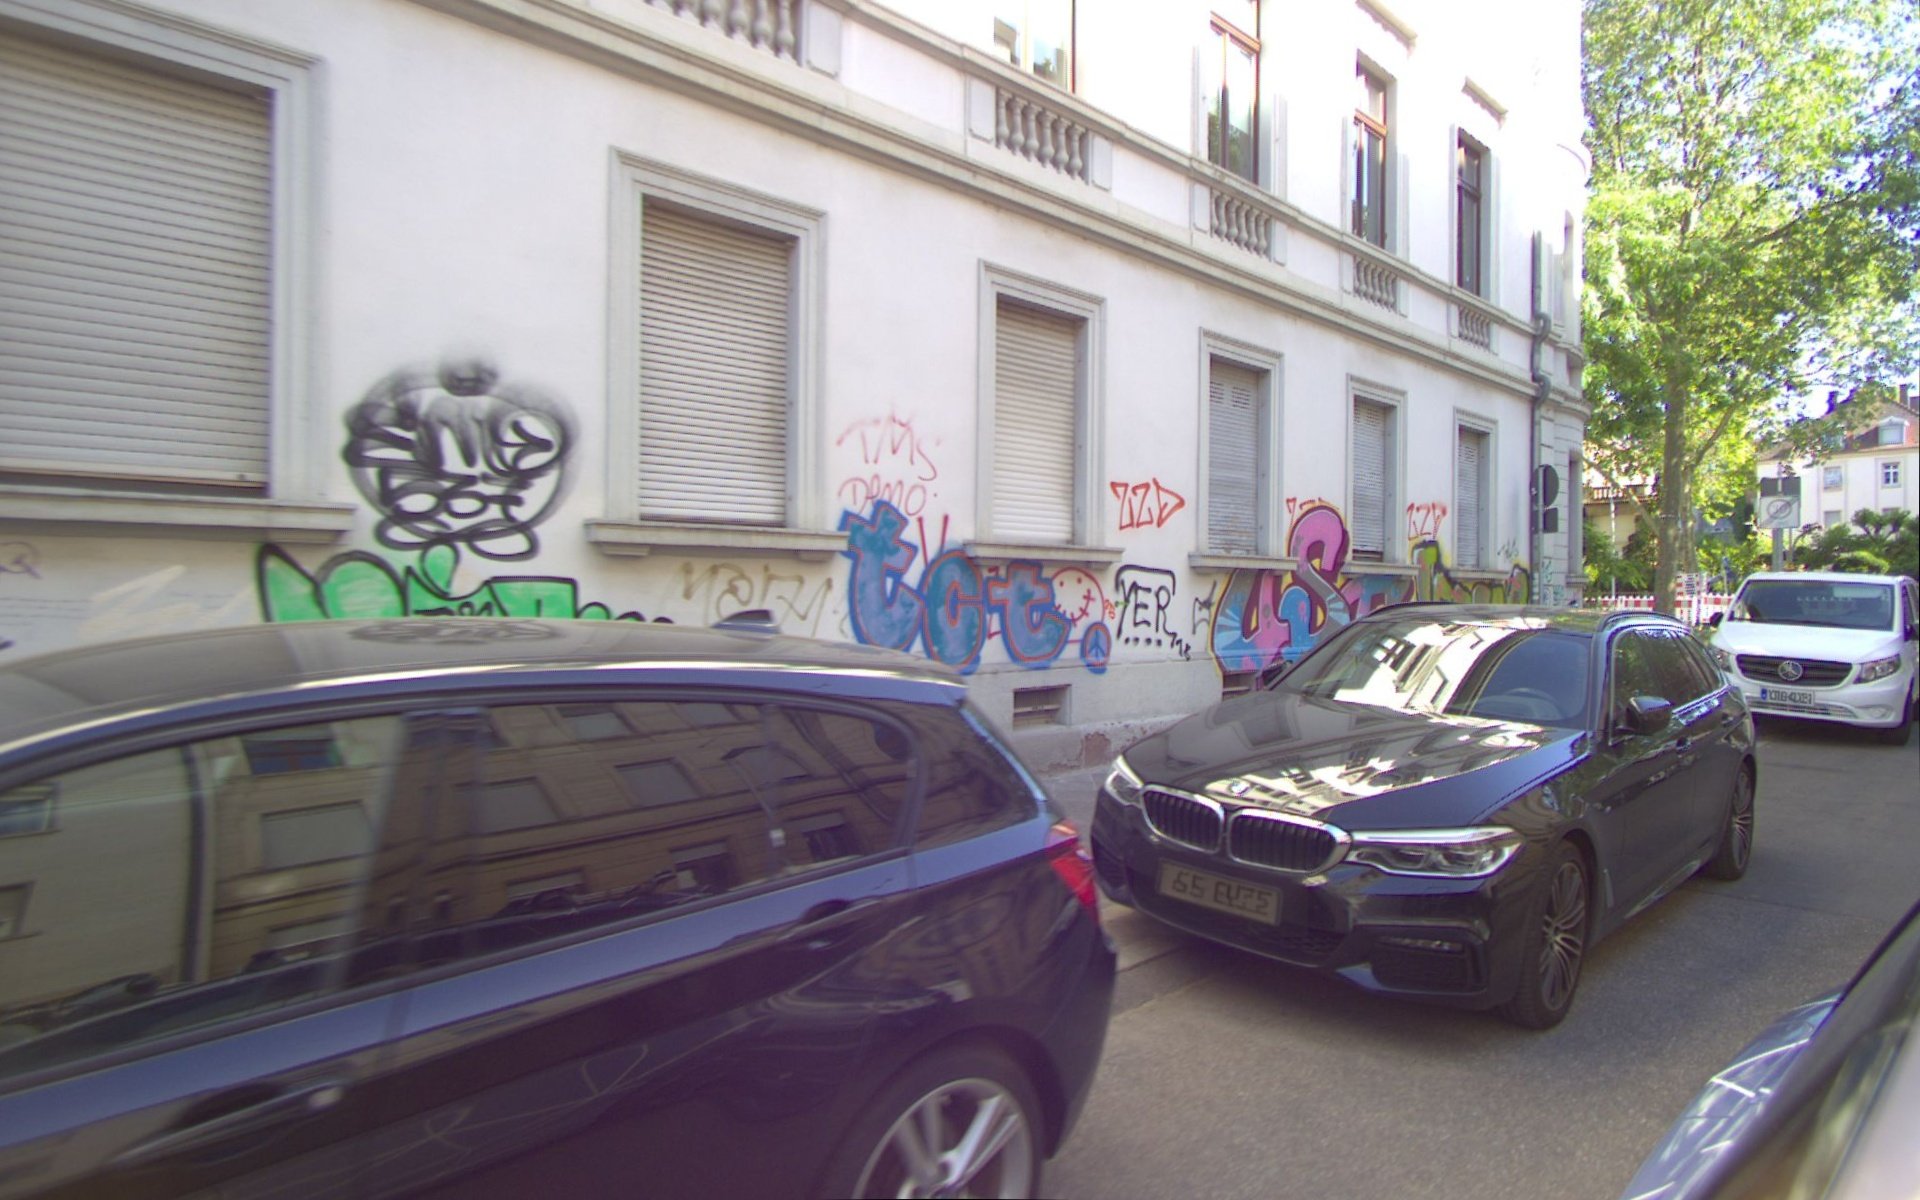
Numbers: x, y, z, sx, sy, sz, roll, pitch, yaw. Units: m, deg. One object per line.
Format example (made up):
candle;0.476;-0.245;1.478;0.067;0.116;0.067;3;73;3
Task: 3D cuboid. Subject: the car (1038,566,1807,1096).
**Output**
car;2.682;0.705;5.186;4.645;1.539;1.817;0;-2;-41

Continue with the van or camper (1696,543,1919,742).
van or camper;11.017;0.435;12.760;4.946;2.039;1.896;0;0;-43

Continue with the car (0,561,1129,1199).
car;-1.633;0.718;1.643;3.802;1.467;1.749;0;-2;-41
